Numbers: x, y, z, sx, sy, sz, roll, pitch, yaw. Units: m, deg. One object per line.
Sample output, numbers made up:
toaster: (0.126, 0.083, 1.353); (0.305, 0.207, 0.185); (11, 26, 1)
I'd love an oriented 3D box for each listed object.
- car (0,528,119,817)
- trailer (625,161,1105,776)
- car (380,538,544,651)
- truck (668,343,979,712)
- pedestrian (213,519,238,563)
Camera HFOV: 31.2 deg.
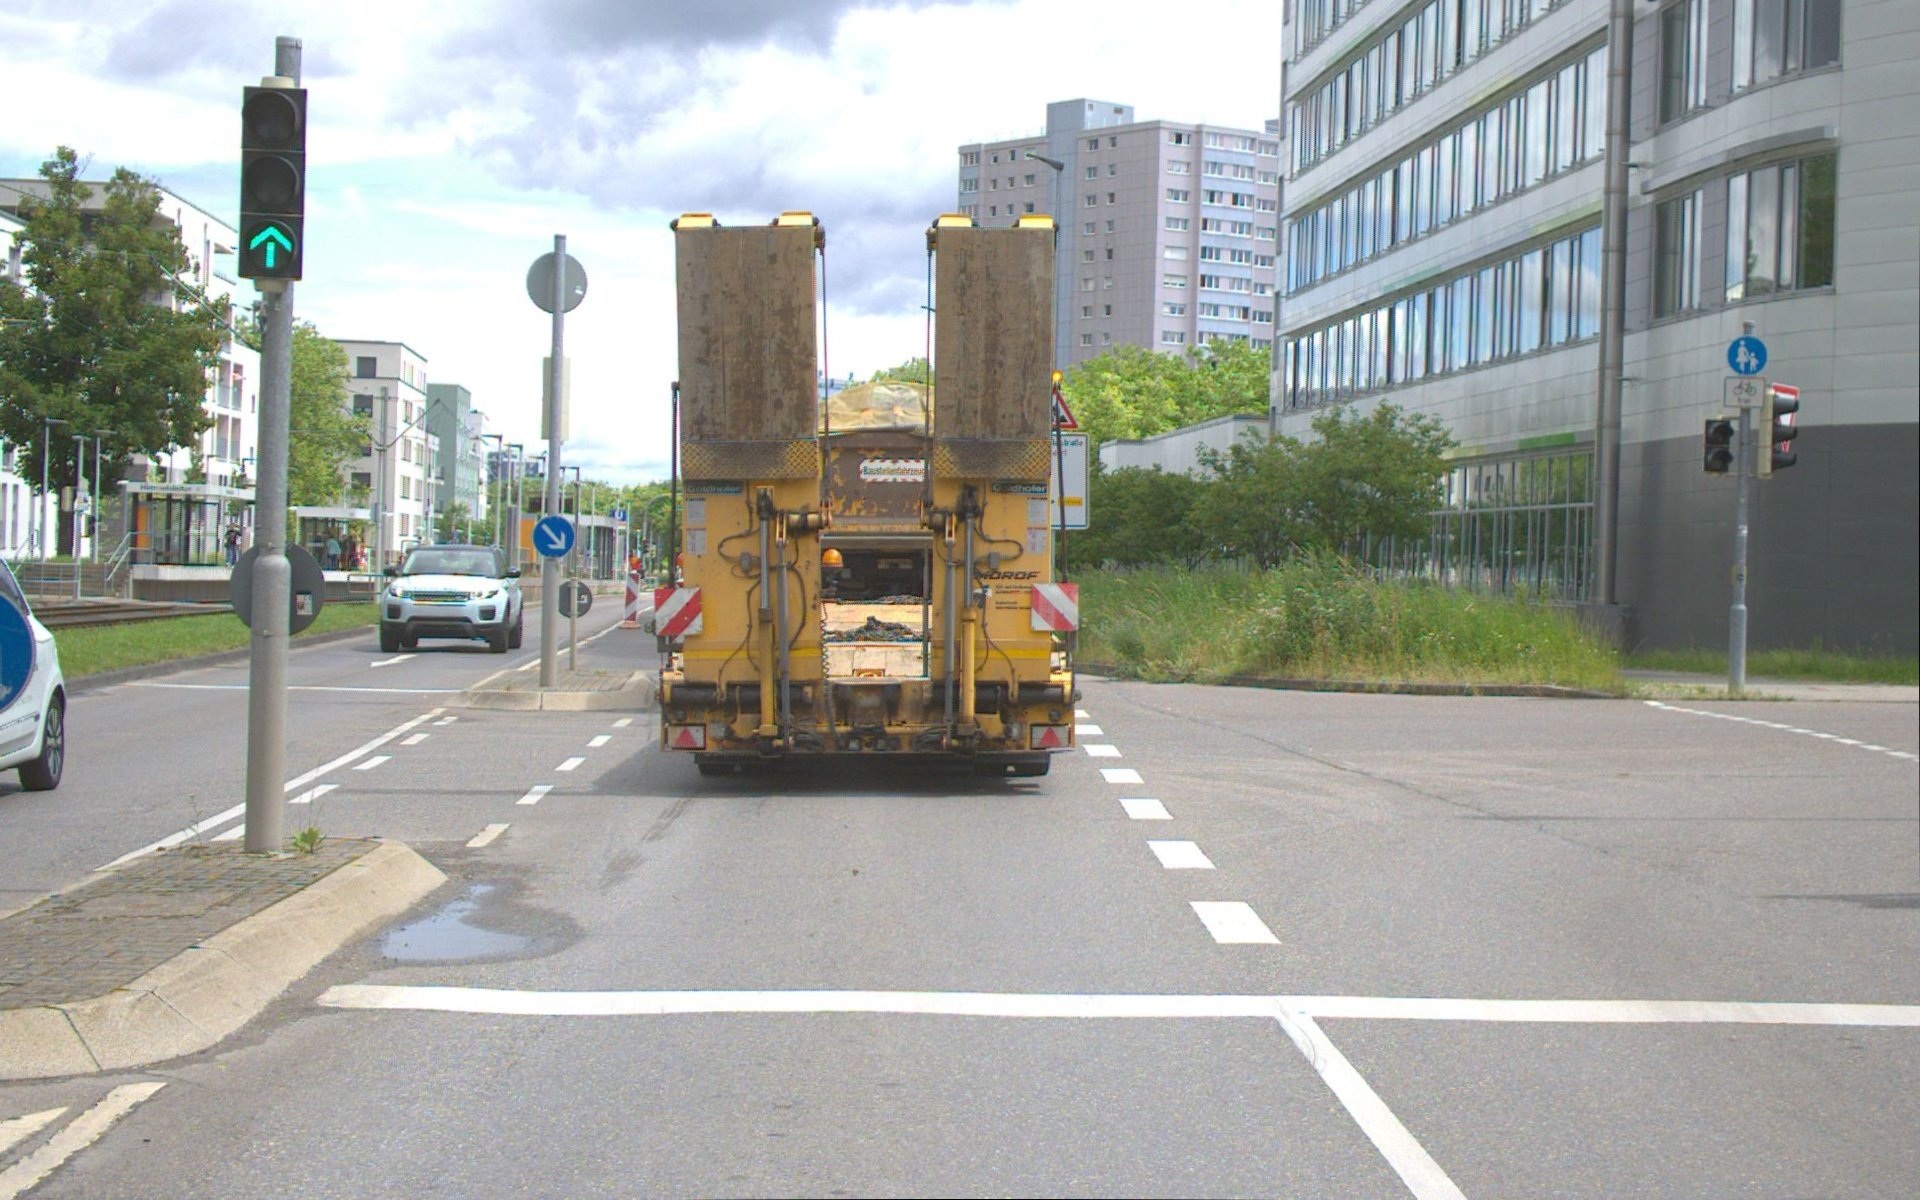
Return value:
car: (-6.198, 0.376, 19.692); (1.728, 1.607, 4.264); (2, 0, -1)
trailer: (-0.893, -0.801, 25.950); (2.729, 3.547, 11.255); (2, 0, -3)
car: (-7.611, -0.087, 52.894); (1.860, 1.605, 4.608); (2, 0, -1)
truck: (-1.456, -0.684, 35.743); (2.753, 3.302, 8.352); (2, 0, -3)
pedestrian: (-26.134, -2.111, 122.349); (0.741, 1.526, 0.547); (2, 0, 0)
